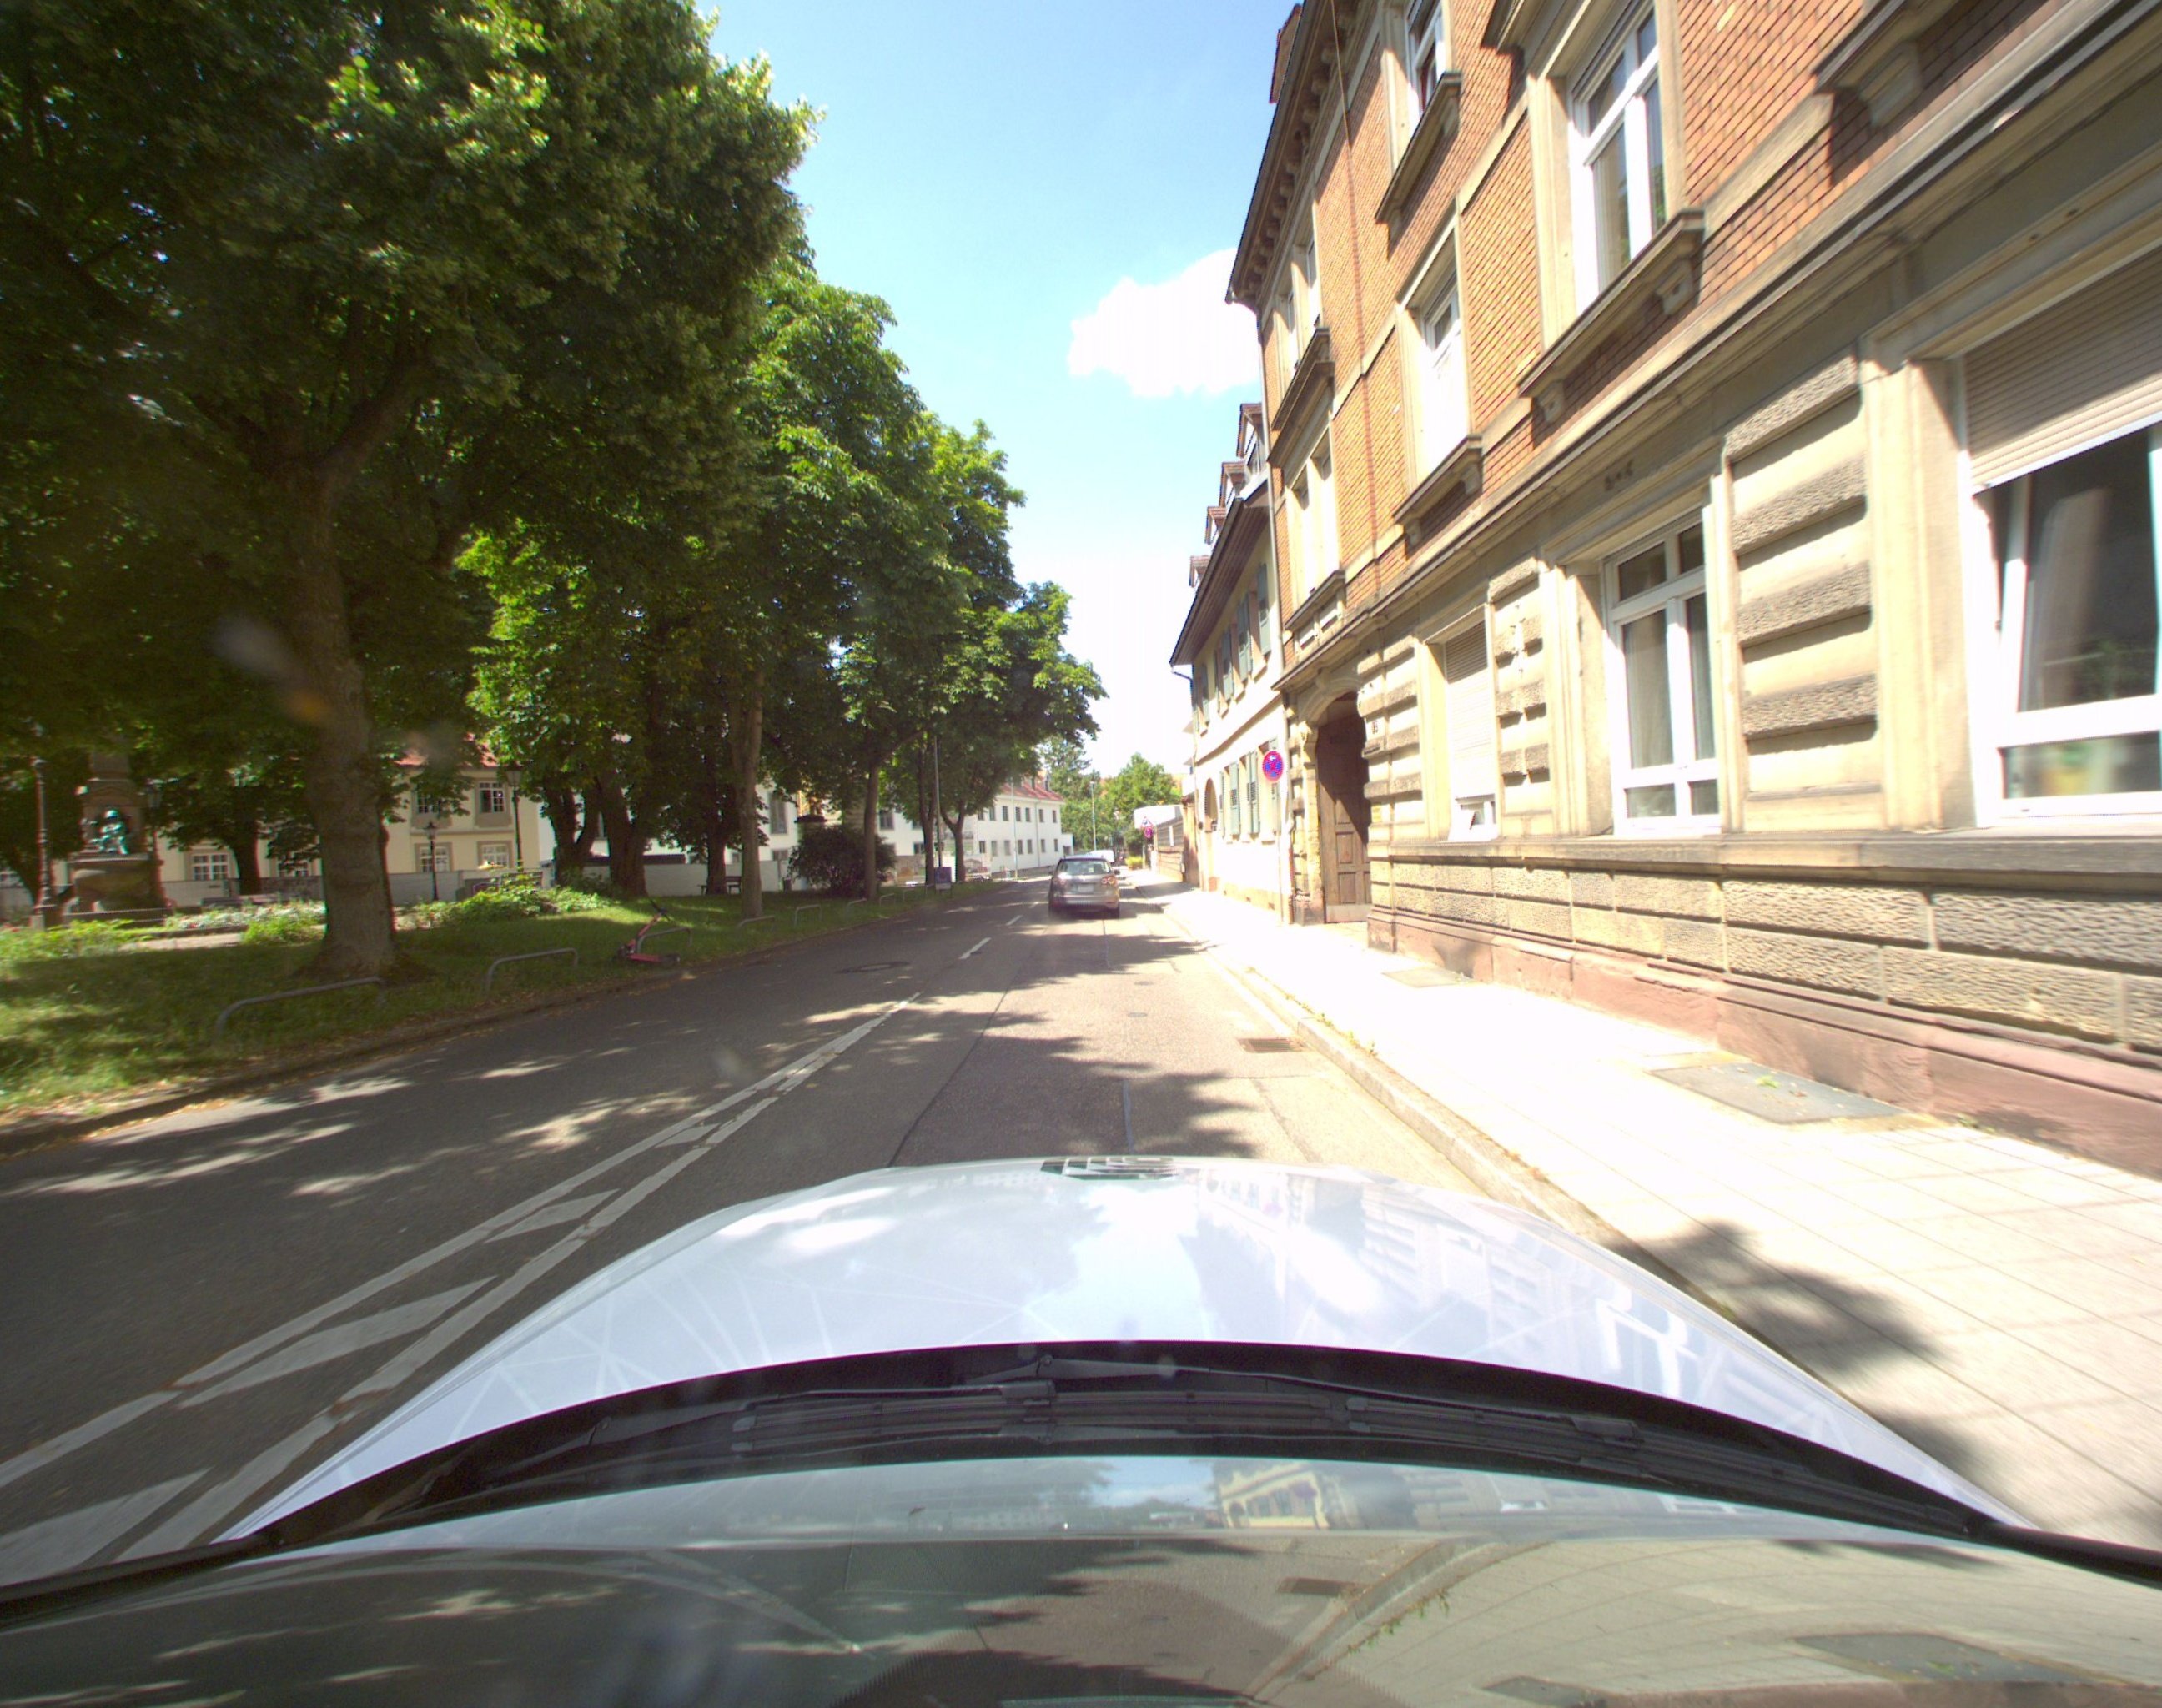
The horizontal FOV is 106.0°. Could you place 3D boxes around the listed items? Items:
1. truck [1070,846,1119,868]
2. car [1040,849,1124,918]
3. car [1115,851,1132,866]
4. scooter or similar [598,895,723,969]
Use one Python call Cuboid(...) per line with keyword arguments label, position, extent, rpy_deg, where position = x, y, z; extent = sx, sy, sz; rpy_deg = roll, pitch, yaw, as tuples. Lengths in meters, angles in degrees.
Cuboid(label="truck", position=(1.377, 0.277, 84.889), extent=(4.788, 2.013, 2.141), rpy_deg=(-3, 0, -6))
Cuboid(label="car", position=(0.145, 0.703, 21.167), extent=(1.895, 1.534, 4.247), rpy_deg=(-2, 0, 3))
Cuboid(label="car", position=(4.643, 0.501, 89.460), extent=(1.641, 1.574, 3.640), rpy_deg=(-2, 0, 1))
Cuboid(label="scooter or similar", position=(-6.981, 1.277, 13.643), extent=(1.268, 0.991, 1.451), rpy_deg=(5, 0, -2))
